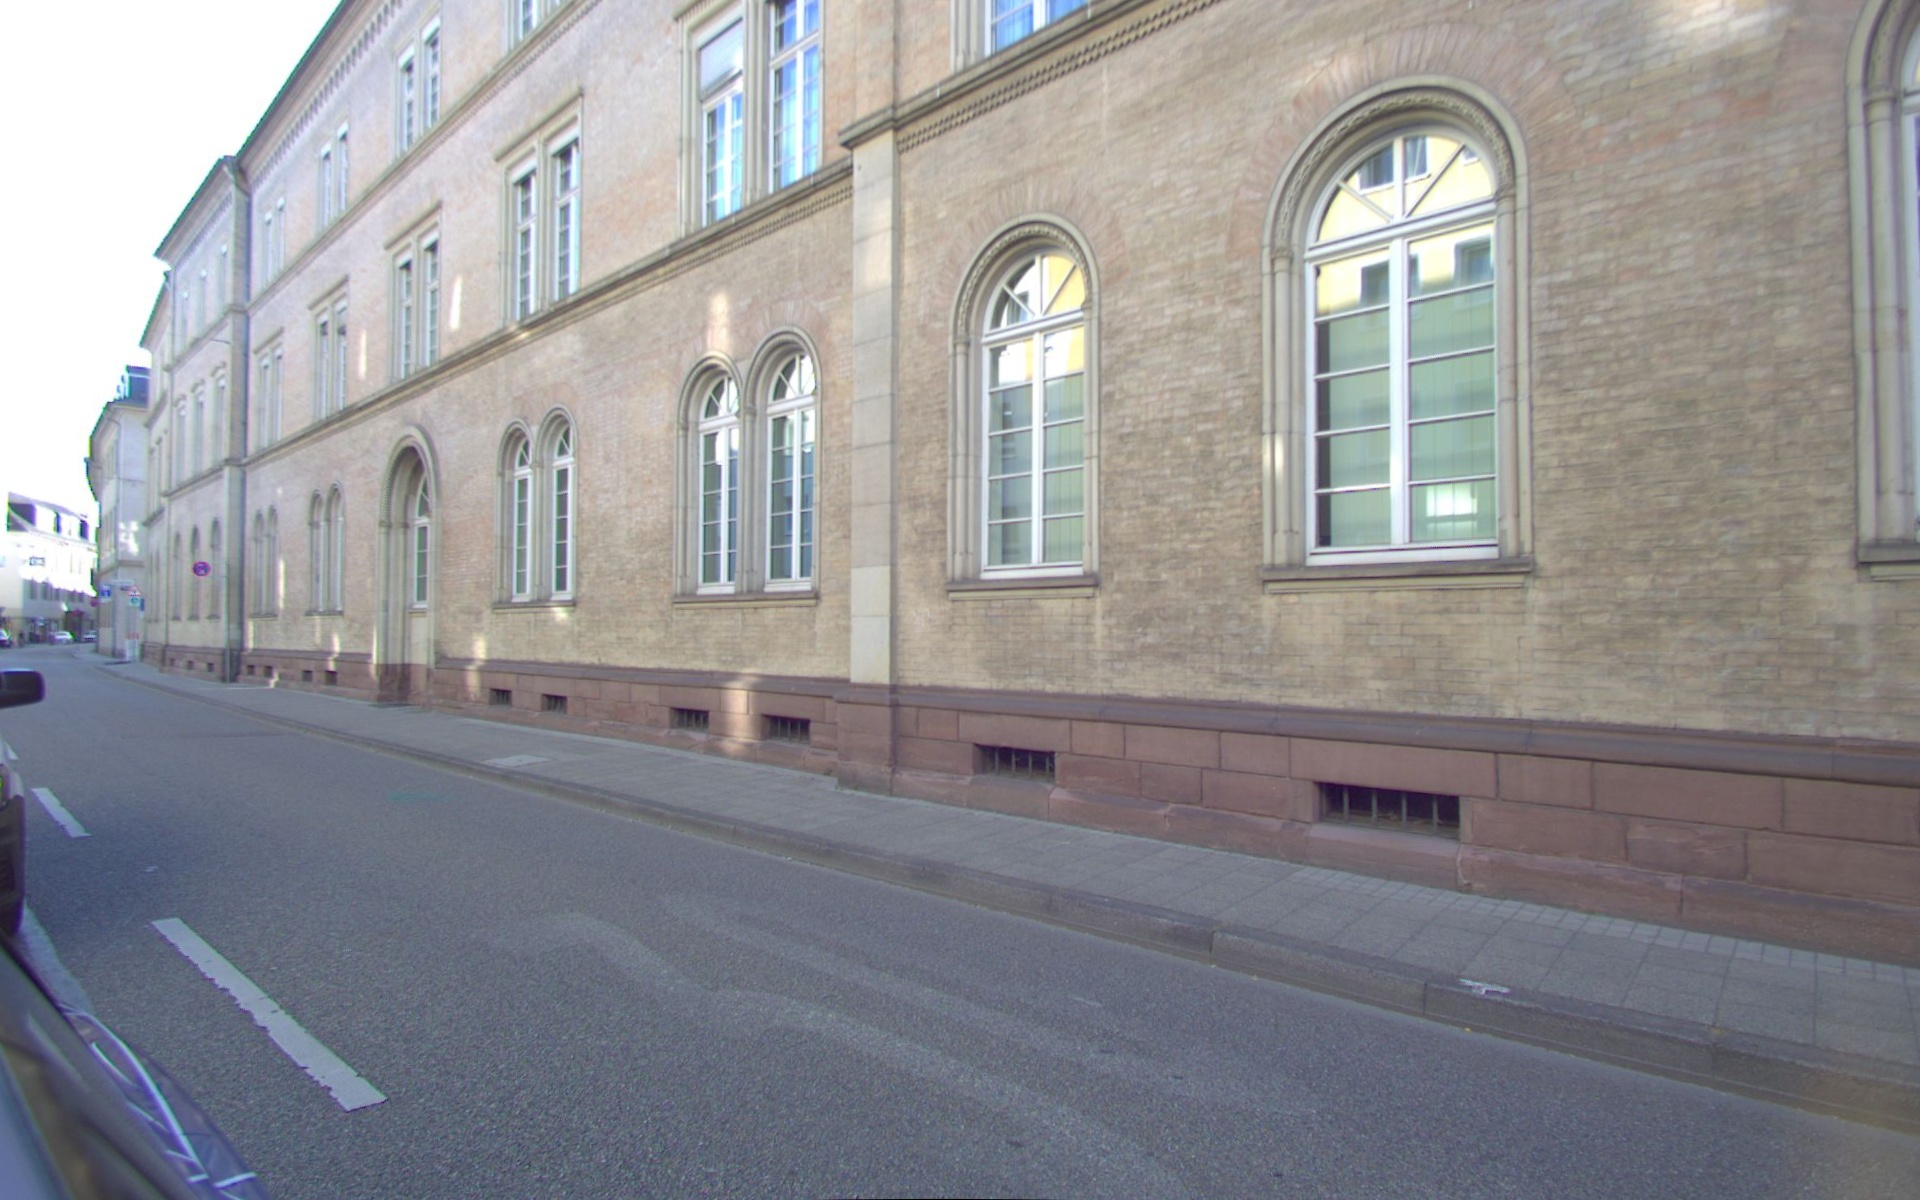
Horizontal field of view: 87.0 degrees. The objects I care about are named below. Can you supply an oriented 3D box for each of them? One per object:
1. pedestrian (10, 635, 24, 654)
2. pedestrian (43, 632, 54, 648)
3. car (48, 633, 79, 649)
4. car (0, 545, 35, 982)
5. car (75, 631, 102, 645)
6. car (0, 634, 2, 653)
[{"bbox_3d":[-84.814,3.976,91.033,0.694,1.648,0.834,5,-4,-38],"label":"pedestrian"},{"bbox_3d":[-94.350,4.119,104.755,0.694,1.648,0.834,5,-4,-36],"label":"pedestrian"},{"bbox_3d":[-102.853,4.689,116.166,1.966,1.665,4.240,-1,0,-33],"label":"car"},{"bbox_3d":[-6.430,0.678,5.300,5.329,1.784,1.747,-1,-2,41],"label":"car"},{"bbox_3d":[-109.227,4.767,126.819,1.966,1.665,4.240,-1,0,-33],"label":"car"},{"bbox_3d":[-86.611,3.896,89.942,1.969,1.665,4.235,-1,0,-41],"label":"car"}]
